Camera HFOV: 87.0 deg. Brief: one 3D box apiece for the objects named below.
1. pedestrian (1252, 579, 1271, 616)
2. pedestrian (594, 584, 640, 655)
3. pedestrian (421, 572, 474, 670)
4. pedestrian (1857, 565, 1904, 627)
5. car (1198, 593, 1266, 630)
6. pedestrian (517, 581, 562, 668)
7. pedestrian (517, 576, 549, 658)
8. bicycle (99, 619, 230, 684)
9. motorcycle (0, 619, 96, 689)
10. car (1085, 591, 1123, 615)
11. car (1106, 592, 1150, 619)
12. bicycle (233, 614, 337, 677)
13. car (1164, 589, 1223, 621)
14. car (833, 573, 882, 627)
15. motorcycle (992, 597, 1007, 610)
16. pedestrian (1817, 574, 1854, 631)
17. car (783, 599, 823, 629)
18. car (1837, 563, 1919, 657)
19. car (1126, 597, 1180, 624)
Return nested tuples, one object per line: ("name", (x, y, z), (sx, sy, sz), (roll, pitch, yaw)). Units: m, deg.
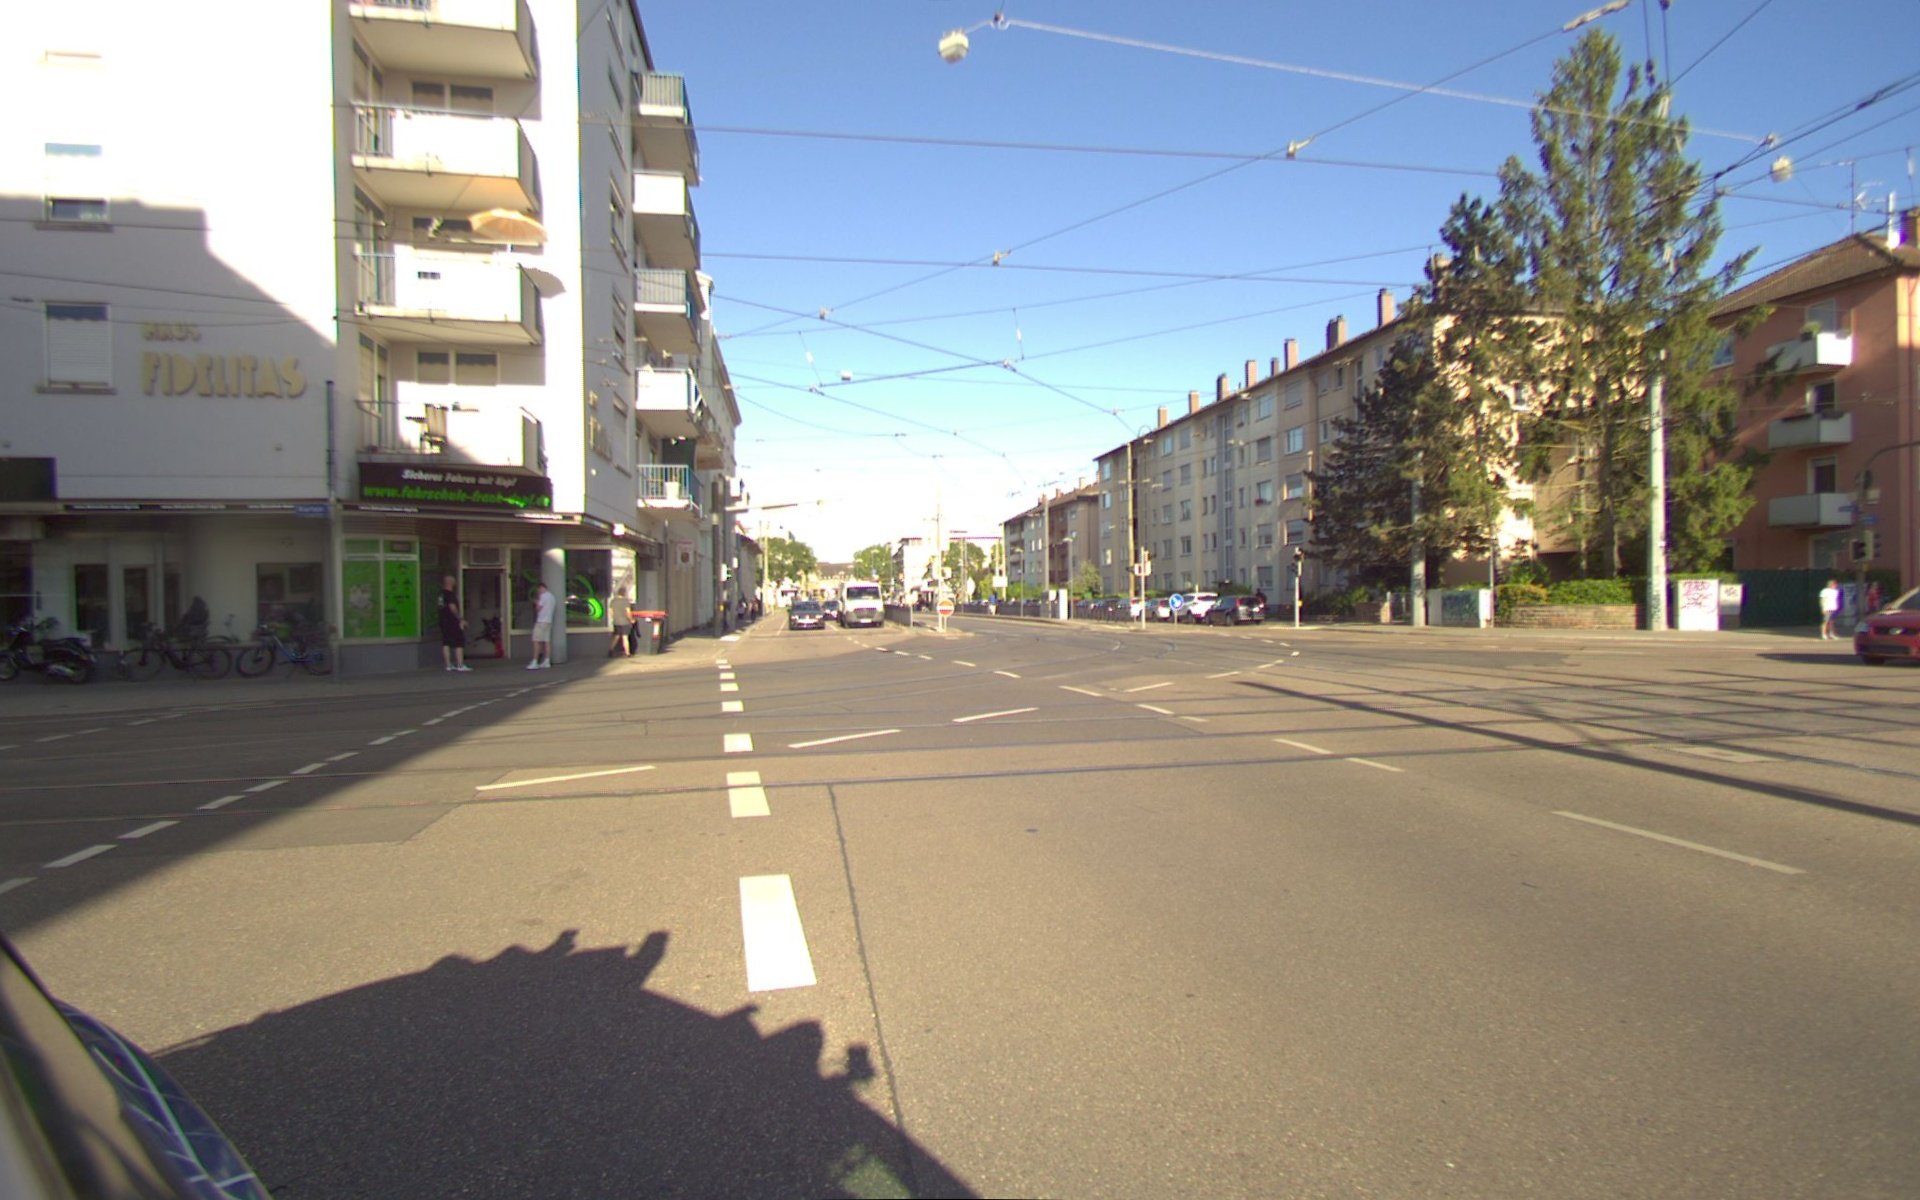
("pedestrian", (15.905, -0.131, 53.334), (0.689, 1.900, 0.782), (0, 2, -7))
("pedestrian", (-8.308, 0.485, 24.547), (0.693, 1.664, 0.757), (1, -3, 12))
("pedestrian", (-10.308, 0.414, 20.351), (0.730, 1.914, 0.574), (1, 0, 6))
("pedestrian", (26.466, -0.122, 29.104), (0.692, 1.734, 0.787), (-1, 2, -31))
("car", (13.643, 0.545, 50.985), (1.842, 1.640, 4.080), (-1, 2, -8))
("pedestrian", (-8.925, 0.502, 21.491), (0.652, 1.806, 0.738), (-1, 0, -5))
("pedestrian", (-9.877, 0.385, 23.427), (0.588, 1.869, 0.520), (-1, 2, -15))
("bicycle", (-14.435, 0.924, 18.414), (1.767, 1.096, 0.610), (-1, 2, -12))
("motorcycle", (-16.299, 0.941, 17.662), (1.767, 1.142, 0.610), (-1, 2, -12))
("car", (10.154, 0.162, 71.628), (1.535, 1.537, 3.655), (-1, 2, -10))
("car", (11.115, 0.327, 67.116), (1.635, 1.569, 3.798), (-1, 2, -10))
("bicycle", (-12.662, 0.845, 19.005), (1.514, 1.114, 0.554), (-1, 2, -9))
("car", (12.917, 0.232, 56.297), (1.744, 1.610, 4.042), (-1, 2, -10))
("car", (-5.240, -0.063, 51.268), (2.305, 2.536, 4.863), (-1, 2, -7))
("motorcycle", (3.348, 0.297, 86.410), (0.844, 1.054, 1.947), (-1, 2, -11))
("pedestrian", (24.559, 0.066, 28.385), (0.564, 1.580, 0.519), (-1, 2, -11))
("car", (-7.805, 0.680, 50.517), (1.854, 1.424, 3.936), (-1, 0, -7))
("car", (17.098, 0.140, 17.017), (3.763, 1.497, 1.790), (-1, 0, -17))
("car", (11.737, 0.614, 61.852), (1.804, 1.489, 4.043), (-1, 2, -12))
